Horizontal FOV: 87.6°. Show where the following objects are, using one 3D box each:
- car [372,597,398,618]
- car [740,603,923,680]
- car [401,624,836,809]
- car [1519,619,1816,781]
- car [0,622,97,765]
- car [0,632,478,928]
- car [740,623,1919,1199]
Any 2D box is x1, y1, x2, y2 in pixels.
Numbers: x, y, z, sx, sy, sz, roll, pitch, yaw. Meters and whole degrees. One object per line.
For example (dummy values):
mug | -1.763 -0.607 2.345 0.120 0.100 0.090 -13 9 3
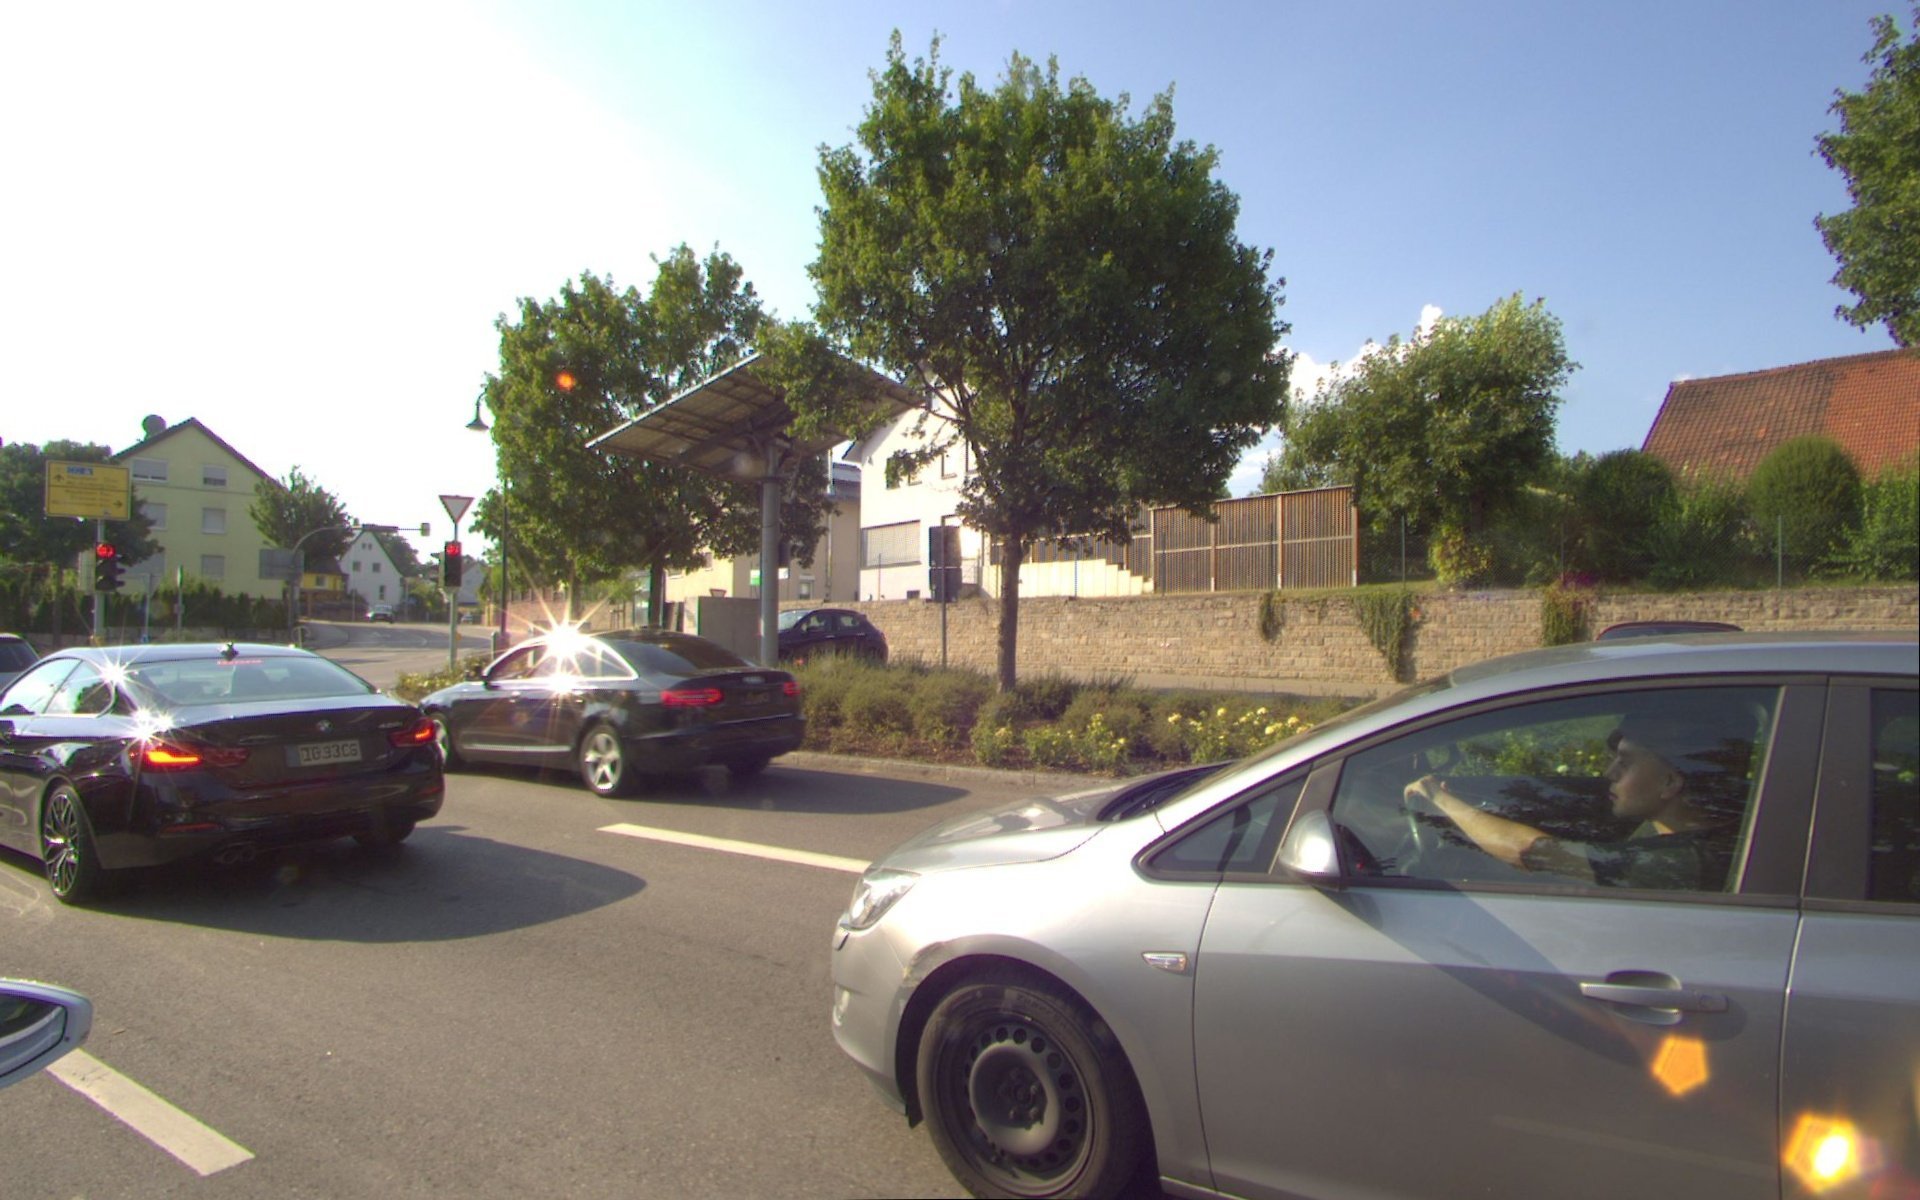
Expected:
car | -48.082 0.605 83.717 1.766 1.527 4.047 1 2 -29
car | -2.914 0.950 23.328 1.835 1.628 3.964 -1 -2 44
car | -3.488 0.975 9.870 4.526 1.454 1.677 -1 -2 34
car | 7.220 0.872 10.063 1.835 1.288 3.964 -1 -2 44
car | -11.658 0.980 11.330 4.287 1.465 1.812 -1 -2 34
car | -5.324 0.927 6.784 4.287 1.406 1.812 -1 -2 34
car | 1.558 0.796 2.562 4.107 1.460 1.741 -1 -2 32
